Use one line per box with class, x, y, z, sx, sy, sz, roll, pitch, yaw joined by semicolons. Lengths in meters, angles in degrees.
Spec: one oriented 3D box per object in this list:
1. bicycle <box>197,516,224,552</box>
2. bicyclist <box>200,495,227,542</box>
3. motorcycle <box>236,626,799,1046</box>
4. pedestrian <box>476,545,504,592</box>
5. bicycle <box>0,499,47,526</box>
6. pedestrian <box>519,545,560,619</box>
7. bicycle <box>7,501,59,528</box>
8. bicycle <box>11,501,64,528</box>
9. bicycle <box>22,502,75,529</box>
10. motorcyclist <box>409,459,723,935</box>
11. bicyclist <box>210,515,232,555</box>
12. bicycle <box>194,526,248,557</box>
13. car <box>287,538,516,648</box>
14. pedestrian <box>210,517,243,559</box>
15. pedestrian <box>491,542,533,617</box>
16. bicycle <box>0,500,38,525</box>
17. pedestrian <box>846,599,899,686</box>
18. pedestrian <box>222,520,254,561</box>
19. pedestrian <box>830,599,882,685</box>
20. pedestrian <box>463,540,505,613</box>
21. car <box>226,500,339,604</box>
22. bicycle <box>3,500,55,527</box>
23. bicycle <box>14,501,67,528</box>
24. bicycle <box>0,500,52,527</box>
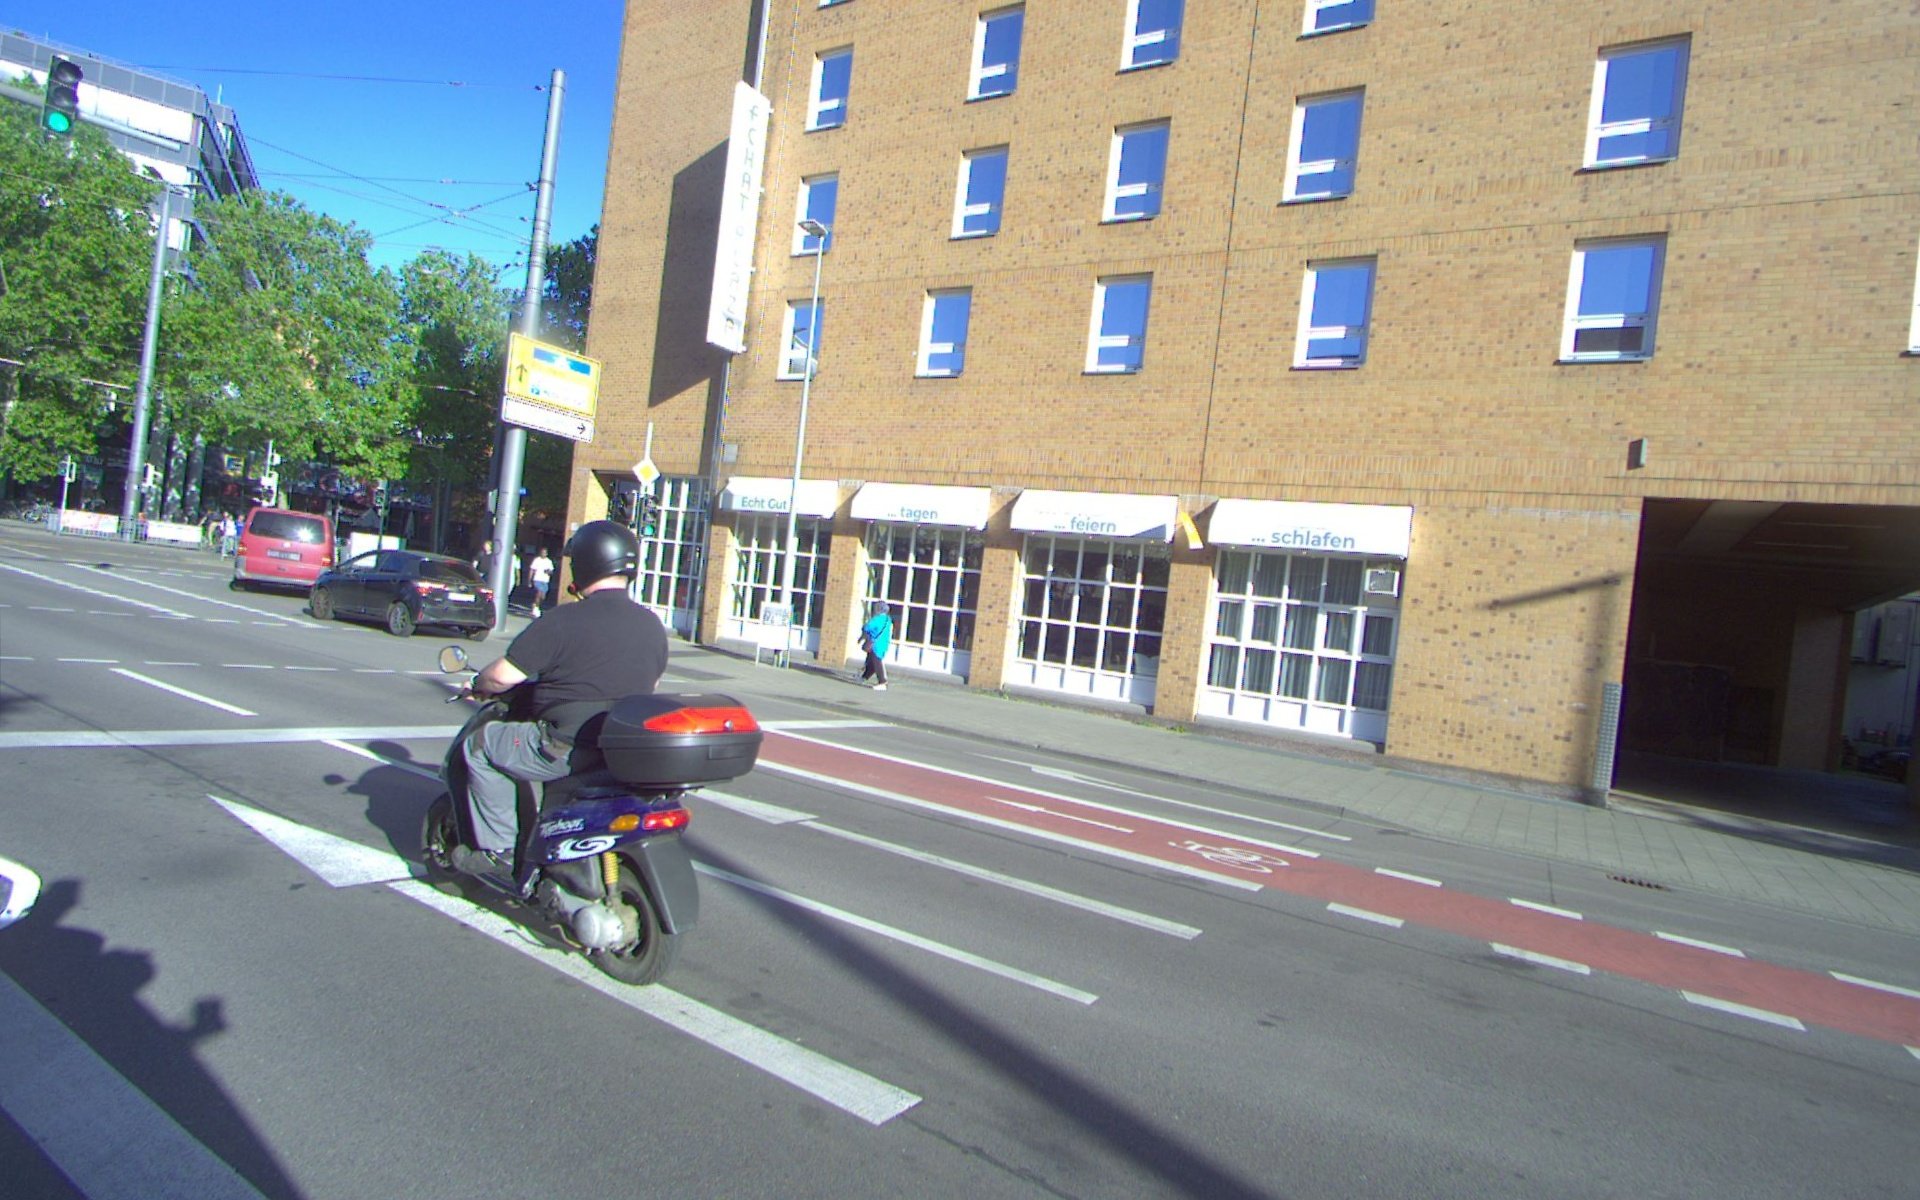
bicycle;-31.670;-2.764;42.549;0.722;1.383;2.890;8;-2;-36
bicyclist;-31.534;-3.433;42.496;0.693;1.829;0.722;8;-1;-35
motorcycle;-1.859;0.781;4.054;2.336;1.062;0.805;6;-2;32
pedestrian;-18.249;-1.231;39.067;0.636;1.719;0.715;8;-1;-39
bicycle;-49.199;-4.575;52.720;0.354;1.058;1.885;7;-2;31
pedestrian;-10.676;-0.455;25.529;0.673;1.802;0.591;6;1;43
bicycle;-47.830;-4.413;51.925;0.354;1.058;1.884;7;-2;31
bicycle;-47.350;-4.374;51.663;0.354;1.058;1.884;6;-2;31
bicycle;-46.031;-4.265;50.815;0.354;1.058;1.884;6;-2;31
motorcyclist;-1.475;0.344;3.852;0.520;1.598;0.798;6;-1;31
bicyclist;-36.366;-3.176;49.483;0.396;1.859;0.585;6;-1;31
bicycle;-36.363;-2.859;49.535;0.414;1.228;2.046;6;-2;32
car;-10.499;-0.143;18.874;3.970;1.466;1.737;7;-2;28
pedestrian;-28.934;-2.445;39.682;0.689;1.550;0.568;7;-1;-1
pedestrian;-11.115;-0.505;24.984;0.670;1.804;0.593;5;2;29
bicycle;-50.175;-4.686;53.283;0.354;1.058;1.885;7;-2;31
pedestrian;-1.558;0.758;17.963;0.591;1.471;0.592;6;2;32
pedestrian;-28.924;-2.390;40.287;0.689;1.496;0.568;7;-1;-2
pedestrian;-1.884;0.771;18.246;0.543;1.495;0.593;6;0;32
pedestrian;-12.433;-0.598;26.273;0.726;1.813;0.510;7;-1;-19
car;-16.298;-1.151;24.100;1.795;2.032;4.427;9;-2;-37
bicycle;-48.350;-4.466;52.263;0.354;1.058;1.884;6;-2;31
bicycle;-46.734;-4.330;51.135;0.354;1.058;1.884;6;-2;31
bicycle;-48.752;-4.519;52.515;0.354;1.058;1.885;7;-2;31
